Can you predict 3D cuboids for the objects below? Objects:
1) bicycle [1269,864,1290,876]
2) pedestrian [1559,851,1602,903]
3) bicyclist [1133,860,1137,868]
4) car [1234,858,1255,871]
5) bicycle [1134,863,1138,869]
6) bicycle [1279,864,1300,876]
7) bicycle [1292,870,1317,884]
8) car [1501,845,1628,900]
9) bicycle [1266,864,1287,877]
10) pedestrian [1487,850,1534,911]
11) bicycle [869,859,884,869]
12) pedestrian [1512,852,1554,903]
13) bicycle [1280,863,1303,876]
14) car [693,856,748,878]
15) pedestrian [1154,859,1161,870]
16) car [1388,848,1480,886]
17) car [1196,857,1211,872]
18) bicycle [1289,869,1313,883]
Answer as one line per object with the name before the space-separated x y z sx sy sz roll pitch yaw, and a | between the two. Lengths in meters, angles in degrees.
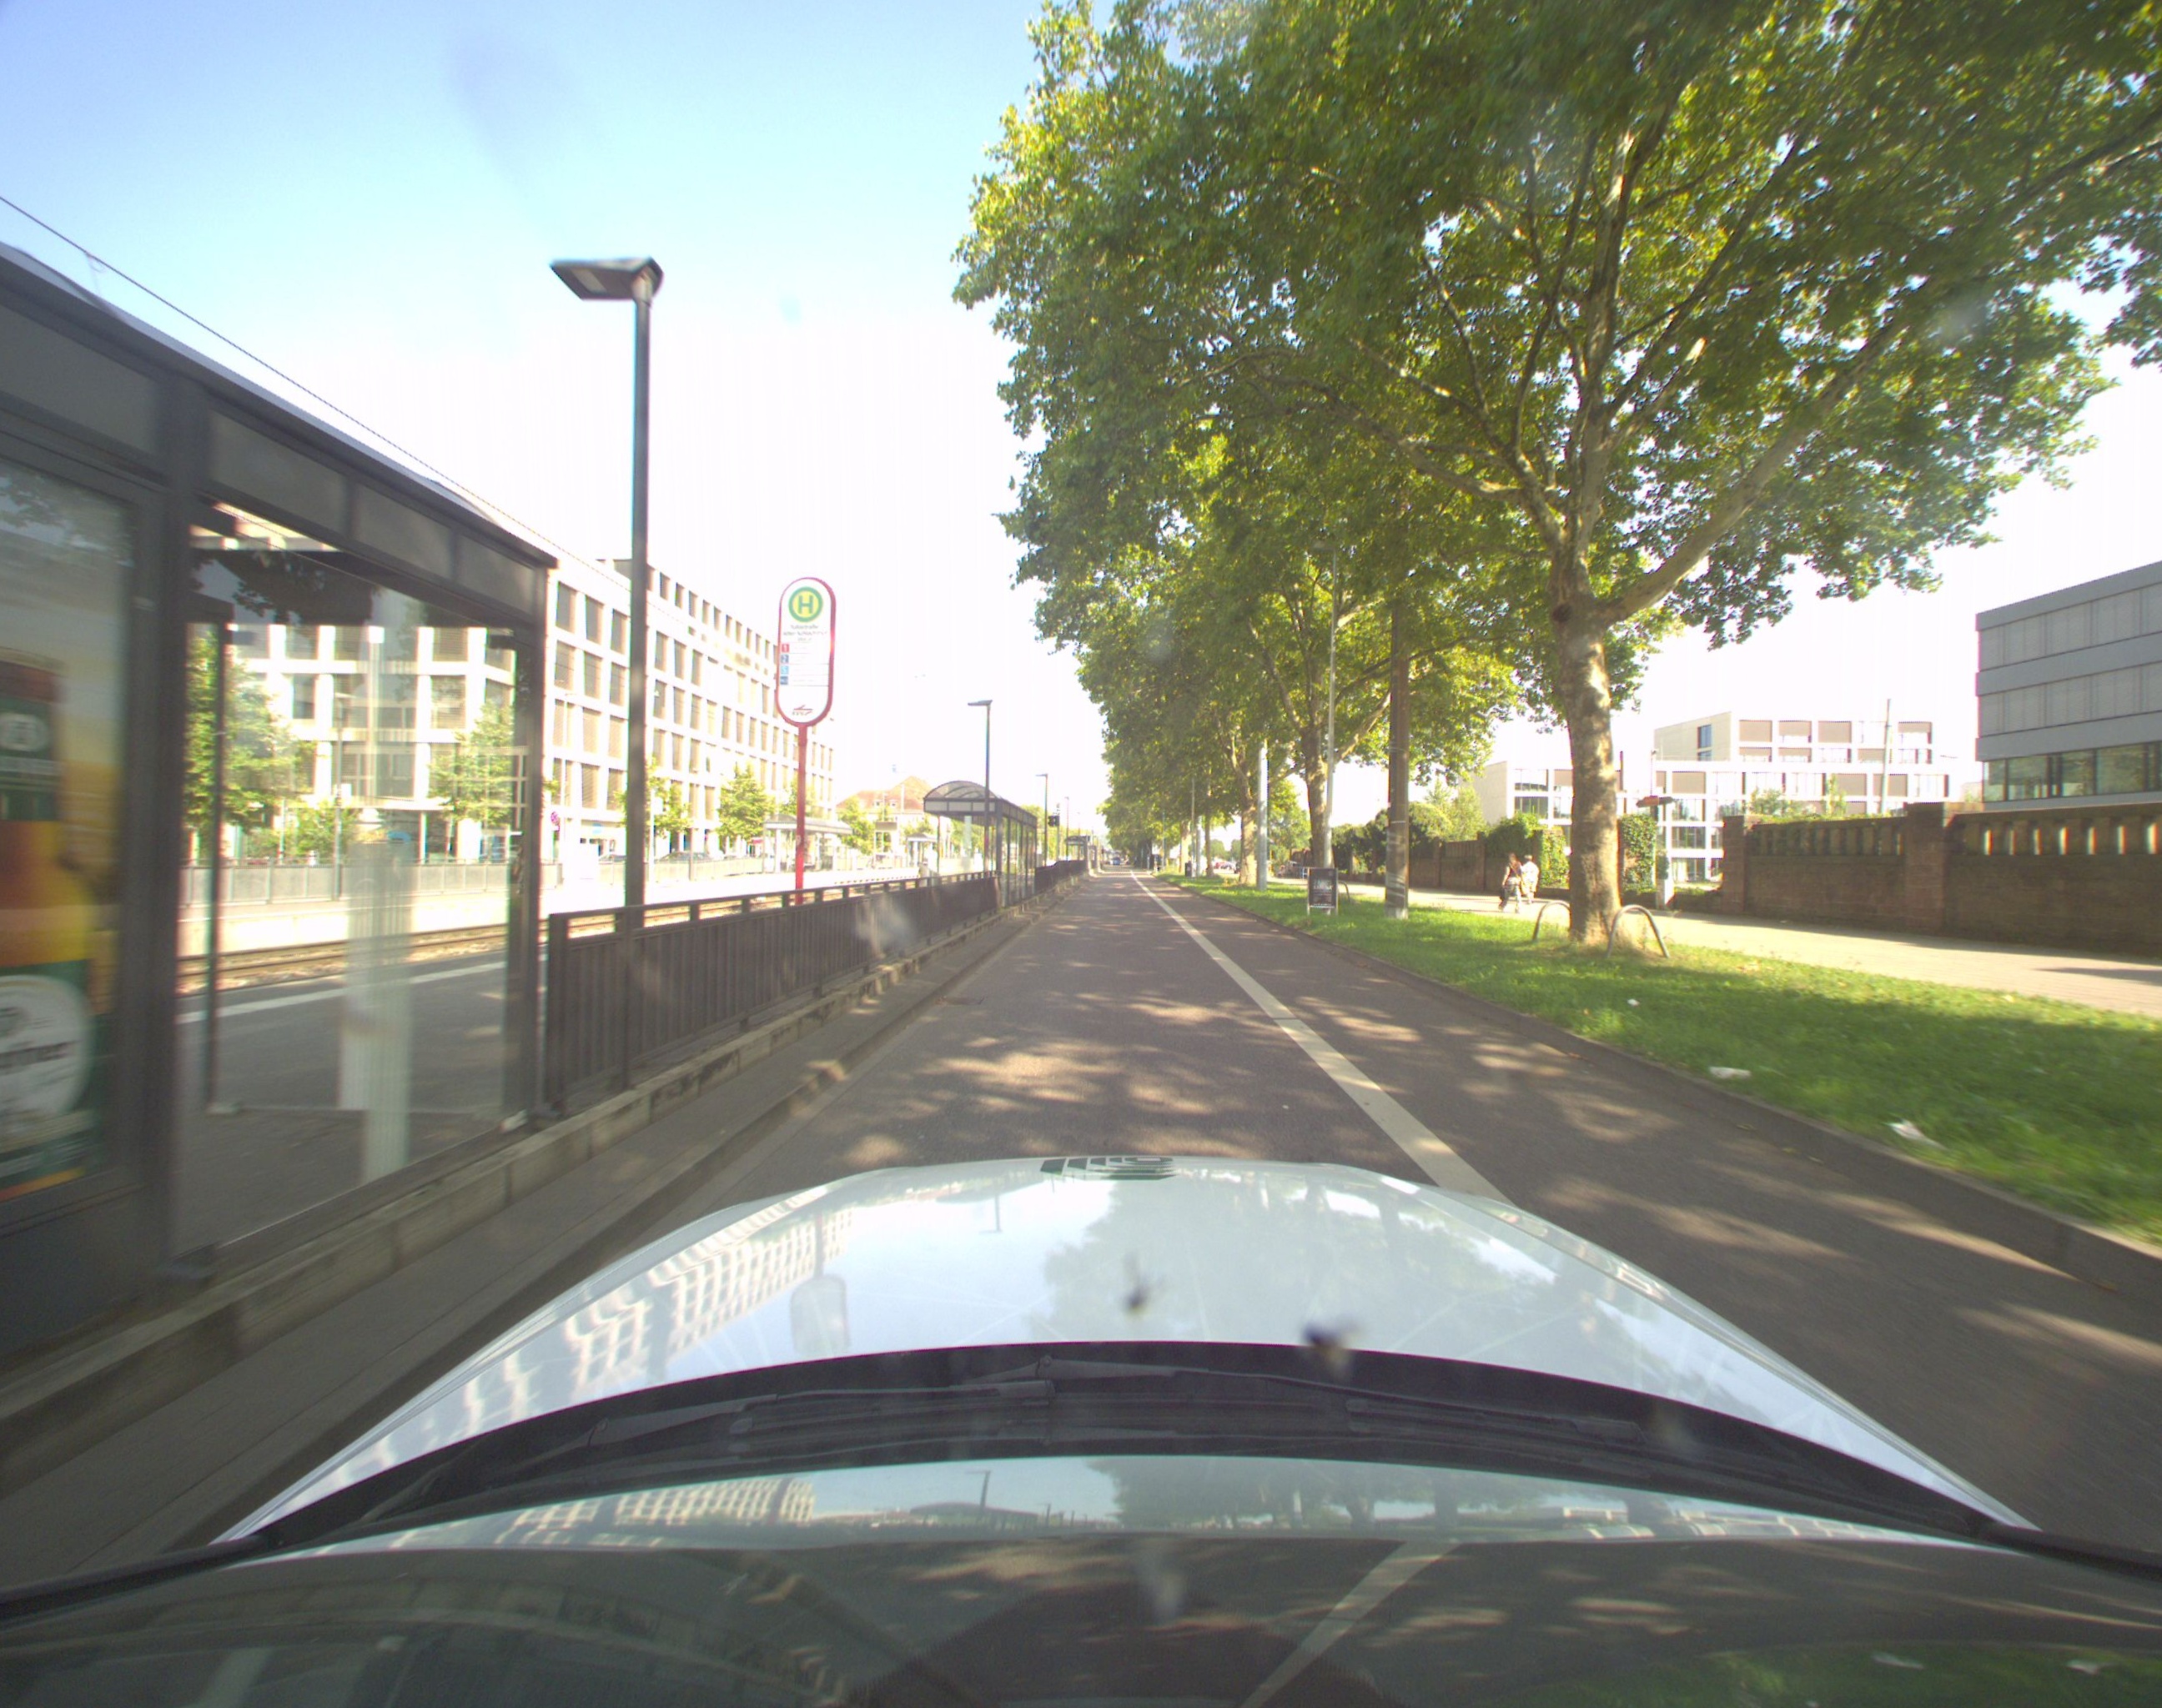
bicycle | 15.820 1.260 64.825 0.508 0.969 1.642 -1 -1 -39
pedestrian | 15.781 0.707 25.748 0.803 1.604 0.948 -1 -1 3
bicyclist | 10.206 1.806 153.006 0.703 1.461 1.010 2 -1 3
car | 20.814 1.329 103.379 1.706 1.679 4.272 0 -1 24
bicycle | 10.270 2.330 153.095 0.712 1.107 2.510 2 -1 3
bicycle | 17.064 1.320 66.643 1.648 0.969 0.507 -1 -1 4
bicycle | 15.967 1.619 58.186 1.649 0.969 0.506 -1 -1 3
car | 22.368 0.842 37.832 4.644 2.318 2.057 2 -1 2
bicycle | 15.764 1.341 65.749 0.508 0.969 1.642 -1 -1 -39
pedestrian | 11.845 0.729 22.470 0.803 1.636 0.948 -1 -1 3
bicycle | -14.663 0.710 58.453 0.474 0.662 1.616 0 0 7
pedestrian | 14.403 0.738 25.961 0.803 1.604 0.948 -1 -1 3
bicycle | 16.150 1.179 62.376 1.647 0.969 0.507 -1 -1 7
car | -23.826 0.853 53.973 1.636 1.377 4.225 0 0 2
pedestrian | 11.228 1.570 119.698 0.619 1.617 0.850 0 -1 40
car | 22.789 0.848 52.737 5.106 2.368 2.133 0 0 5
car | 17.458 1.519 116.465 1.715 2.048 4.464 1 0 3
bicycle | 16.010 1.603 59.260 1.647 0.969 0.507 -1 -1 7
